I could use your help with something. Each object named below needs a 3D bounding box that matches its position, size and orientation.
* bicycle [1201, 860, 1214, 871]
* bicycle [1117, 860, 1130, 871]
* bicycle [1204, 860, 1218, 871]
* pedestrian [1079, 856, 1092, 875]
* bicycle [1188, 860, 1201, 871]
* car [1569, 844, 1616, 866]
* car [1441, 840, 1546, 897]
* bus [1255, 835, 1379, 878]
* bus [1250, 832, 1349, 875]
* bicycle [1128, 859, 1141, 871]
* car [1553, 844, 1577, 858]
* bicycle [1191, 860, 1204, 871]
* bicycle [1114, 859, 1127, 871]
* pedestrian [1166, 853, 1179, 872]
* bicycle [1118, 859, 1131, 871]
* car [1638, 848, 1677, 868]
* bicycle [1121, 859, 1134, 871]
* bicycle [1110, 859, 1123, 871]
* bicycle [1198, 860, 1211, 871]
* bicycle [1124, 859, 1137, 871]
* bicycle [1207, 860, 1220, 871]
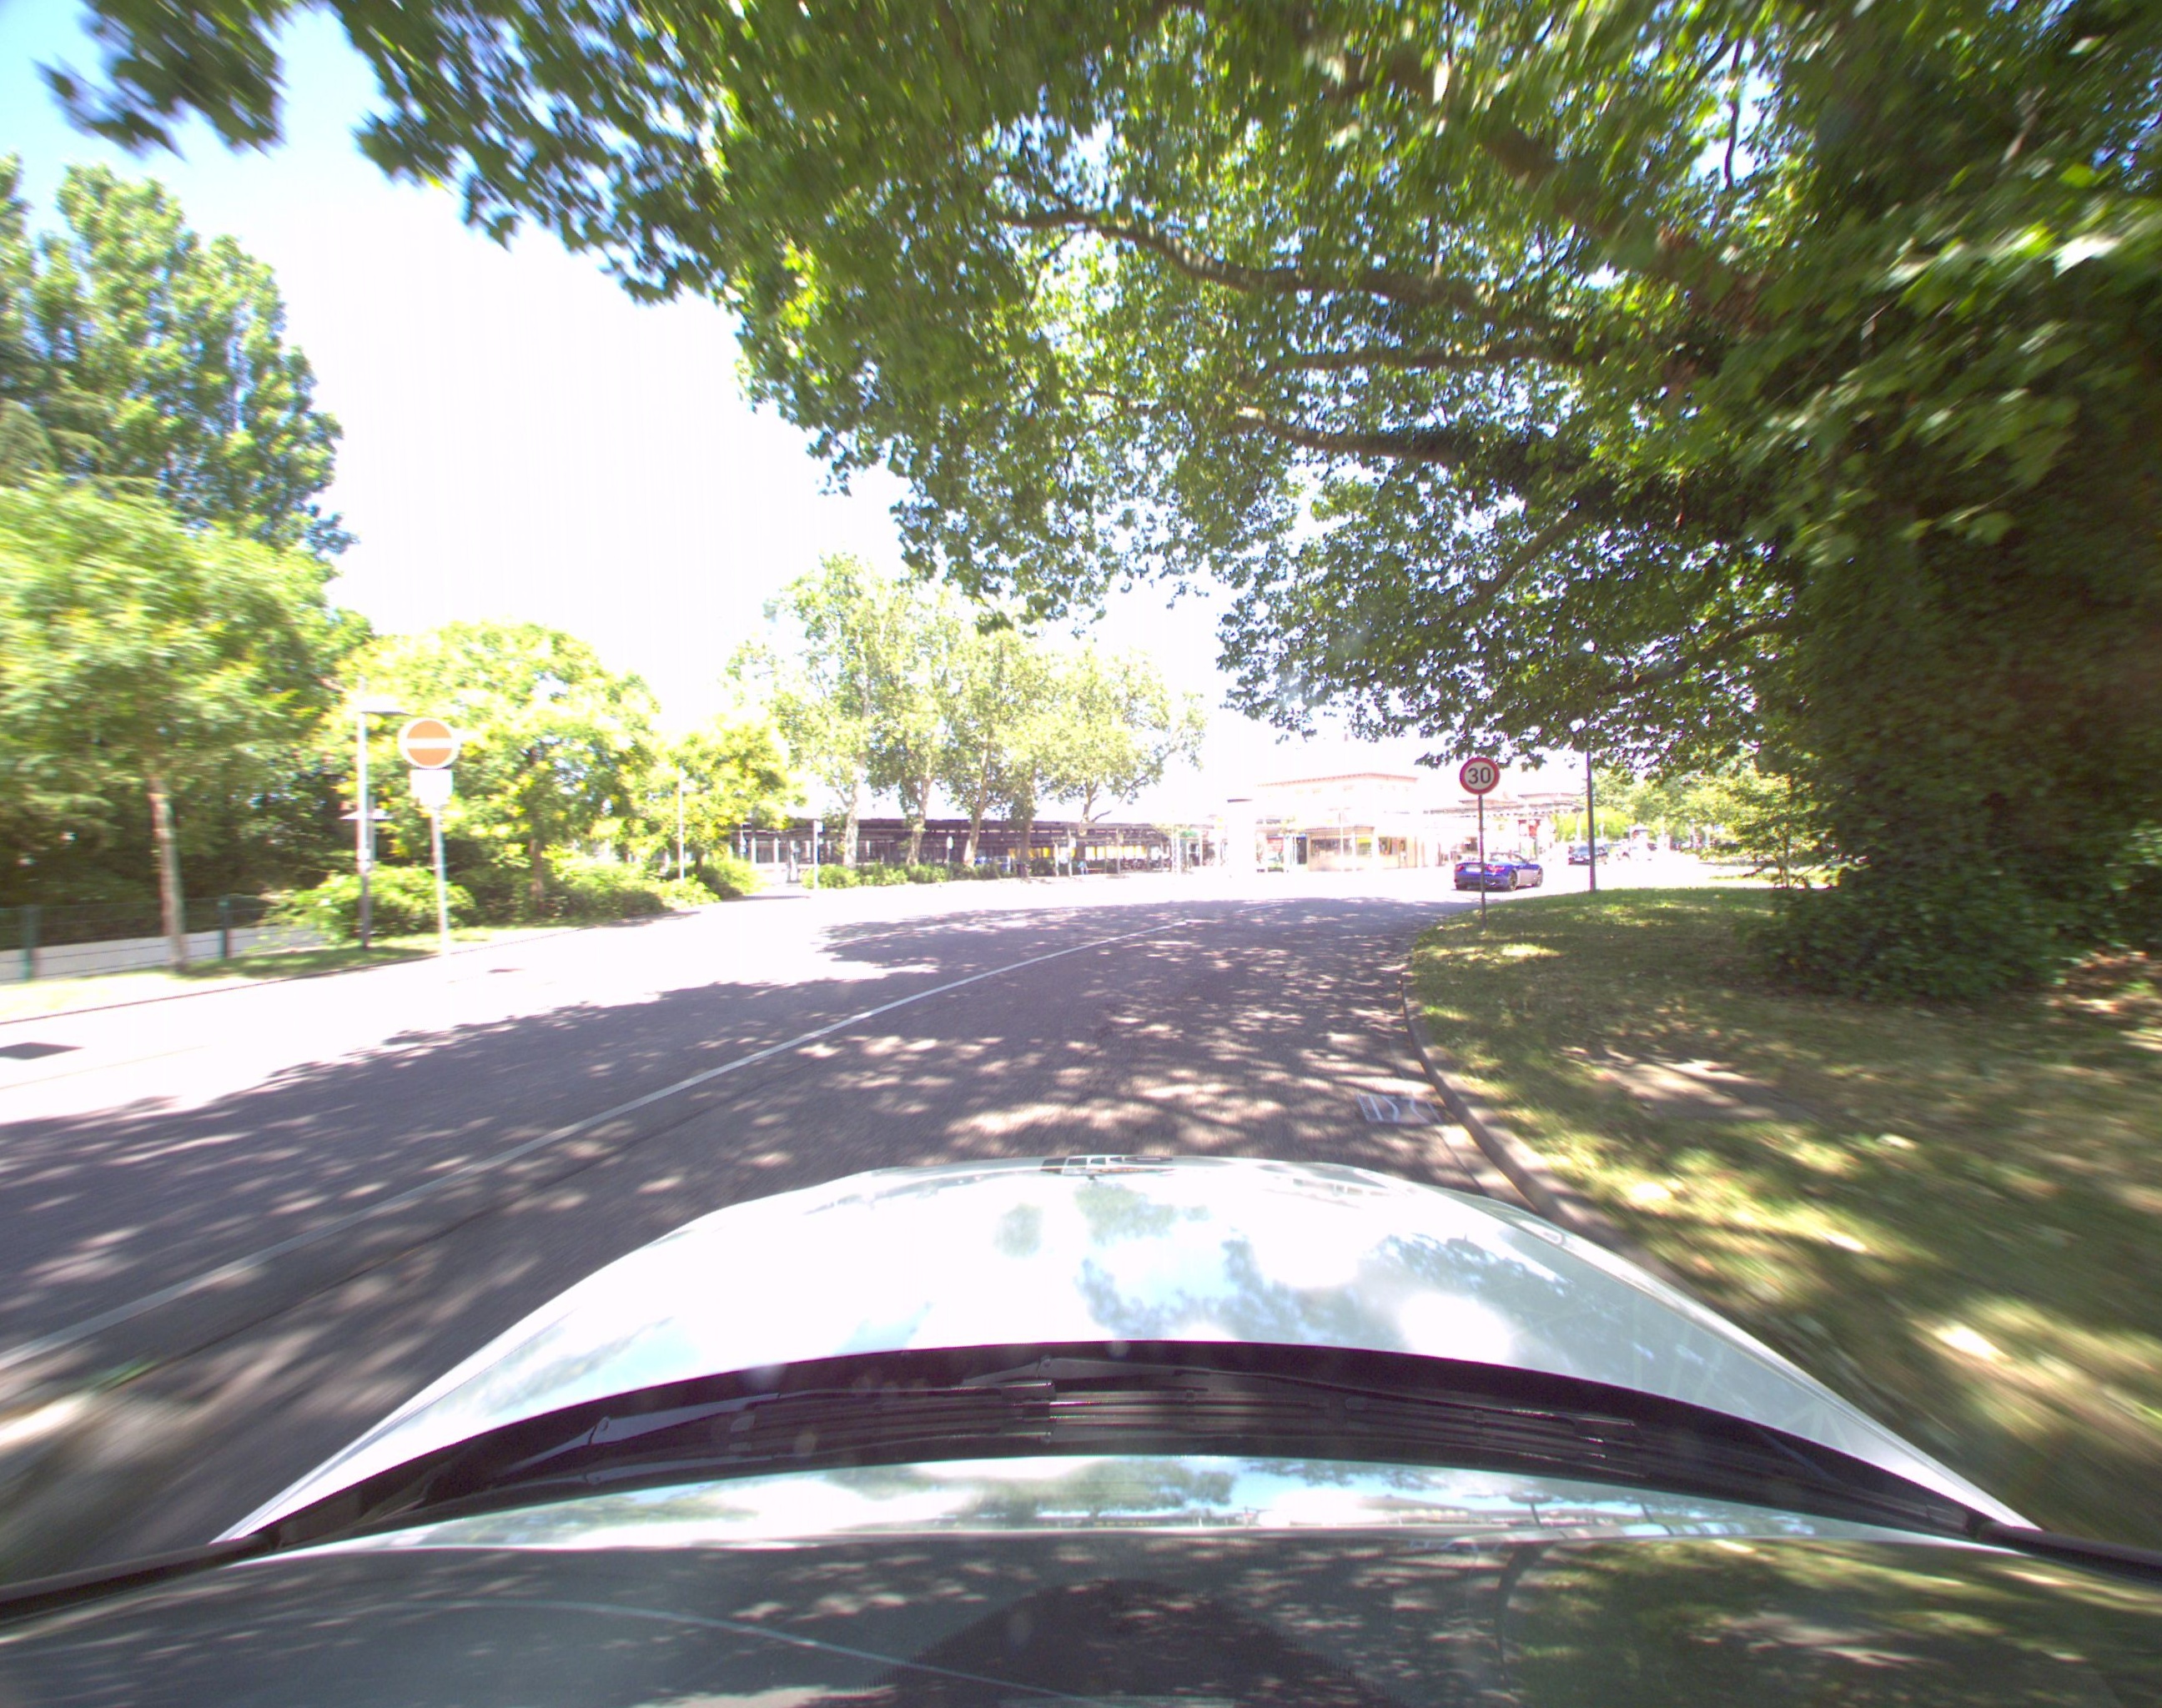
[{"bbox_3d":[12.721,1.174,81.973,0.388,1.094,1.369,-1,-1,-40],"label":"bicycle"},{"bbox_3d":[4.097,1.095,78.205,0.388,1.094,1.369,1,-3,-40],"label":"bicycle"},{"bbox_3d":[13.133,1.159,82.319,0.388,1.094,1.369,-1,-1,-40],"label":"bicycle"},{"bbox_3d":[0.356,0.885,62.863,0.599,1.464,0.826,-2,-1,45],"label":"pedestrian"},{"bbox_3d":[11.512,1.218,82.852,0.388,1.094,1.369,-1,-1,-40],"label":"bicycle"},{"bbox_3d":[37.756,0.054,60.050,4.813,1.478,1.703,-1,-1,-43],"label":"car"},{"bbox_3d":[14.615,0.464,28.778,4.071,1.848,2.105,-1,0,-45],"label":"car"},{"bbox_3d":[18.763,0.138,63.704,13.971,3.041,2.650,-1,-1,-44],"label":"bus"},{"bbox_3d":[19.788,-0.109,72.868,12.289,3.526,2.143,-1,0,-42],"label":"bus"},{"bbox_3d":[5.020,1.054,77.109,0.388,1.094,1.369,1,-3,-40],"label":"bicycle"},{"bbox_3d":[72.786,-0.407,122.406,4.802,1.917,1.735,-3,0,-42],"label":"car"},{"bbox_3d":[11.858,1.210,83.134,0.388,1.094,1.369,-1,-1,-39],"label":"bicycle"},{"bbox_3d":[3.776,1.089,77.917,0.388,1.094,1.369,1,-3,-40],"label":"bicycle"},{"bbox_3d":[7.794,0.735,69.529,0.811,1.617,0.773,-2,0,29],"label":"pedestrian"},{"bbox_3d":[4.081,1.035,76.252,0.388,1.094,1.369,1,-3,-41],"label":"bicycle"},{"bbox_3d":[49.798,0.348,70.315,4.181,1.444,1.799,-2,-4,-42],"label":"car"},{"bbox_3d":[4.388,1.043,76.574,0.388,1.094,1.369,1,-3,-40],"label":"bicycle"},{"bbox_3d":[3.413,1.082,77.619,0.388,1.094,1.369,1,-3,-39],"label":"bicycle"},{"bbox_3d":[12.358,1.170,81.678,0.369,1.100,1.389,-1,-1,-40],"label":"bicycle"},{"bbox_3d":[4.693,1.049,76.849,0.388,1.094,1.369,1,-3,-40],"label":"bicycle"},{"bbox_3d":[13.450,1.150,82.589,0.388,1.094,1.369,-1,-1,-40],"label":"bicycle"}]
